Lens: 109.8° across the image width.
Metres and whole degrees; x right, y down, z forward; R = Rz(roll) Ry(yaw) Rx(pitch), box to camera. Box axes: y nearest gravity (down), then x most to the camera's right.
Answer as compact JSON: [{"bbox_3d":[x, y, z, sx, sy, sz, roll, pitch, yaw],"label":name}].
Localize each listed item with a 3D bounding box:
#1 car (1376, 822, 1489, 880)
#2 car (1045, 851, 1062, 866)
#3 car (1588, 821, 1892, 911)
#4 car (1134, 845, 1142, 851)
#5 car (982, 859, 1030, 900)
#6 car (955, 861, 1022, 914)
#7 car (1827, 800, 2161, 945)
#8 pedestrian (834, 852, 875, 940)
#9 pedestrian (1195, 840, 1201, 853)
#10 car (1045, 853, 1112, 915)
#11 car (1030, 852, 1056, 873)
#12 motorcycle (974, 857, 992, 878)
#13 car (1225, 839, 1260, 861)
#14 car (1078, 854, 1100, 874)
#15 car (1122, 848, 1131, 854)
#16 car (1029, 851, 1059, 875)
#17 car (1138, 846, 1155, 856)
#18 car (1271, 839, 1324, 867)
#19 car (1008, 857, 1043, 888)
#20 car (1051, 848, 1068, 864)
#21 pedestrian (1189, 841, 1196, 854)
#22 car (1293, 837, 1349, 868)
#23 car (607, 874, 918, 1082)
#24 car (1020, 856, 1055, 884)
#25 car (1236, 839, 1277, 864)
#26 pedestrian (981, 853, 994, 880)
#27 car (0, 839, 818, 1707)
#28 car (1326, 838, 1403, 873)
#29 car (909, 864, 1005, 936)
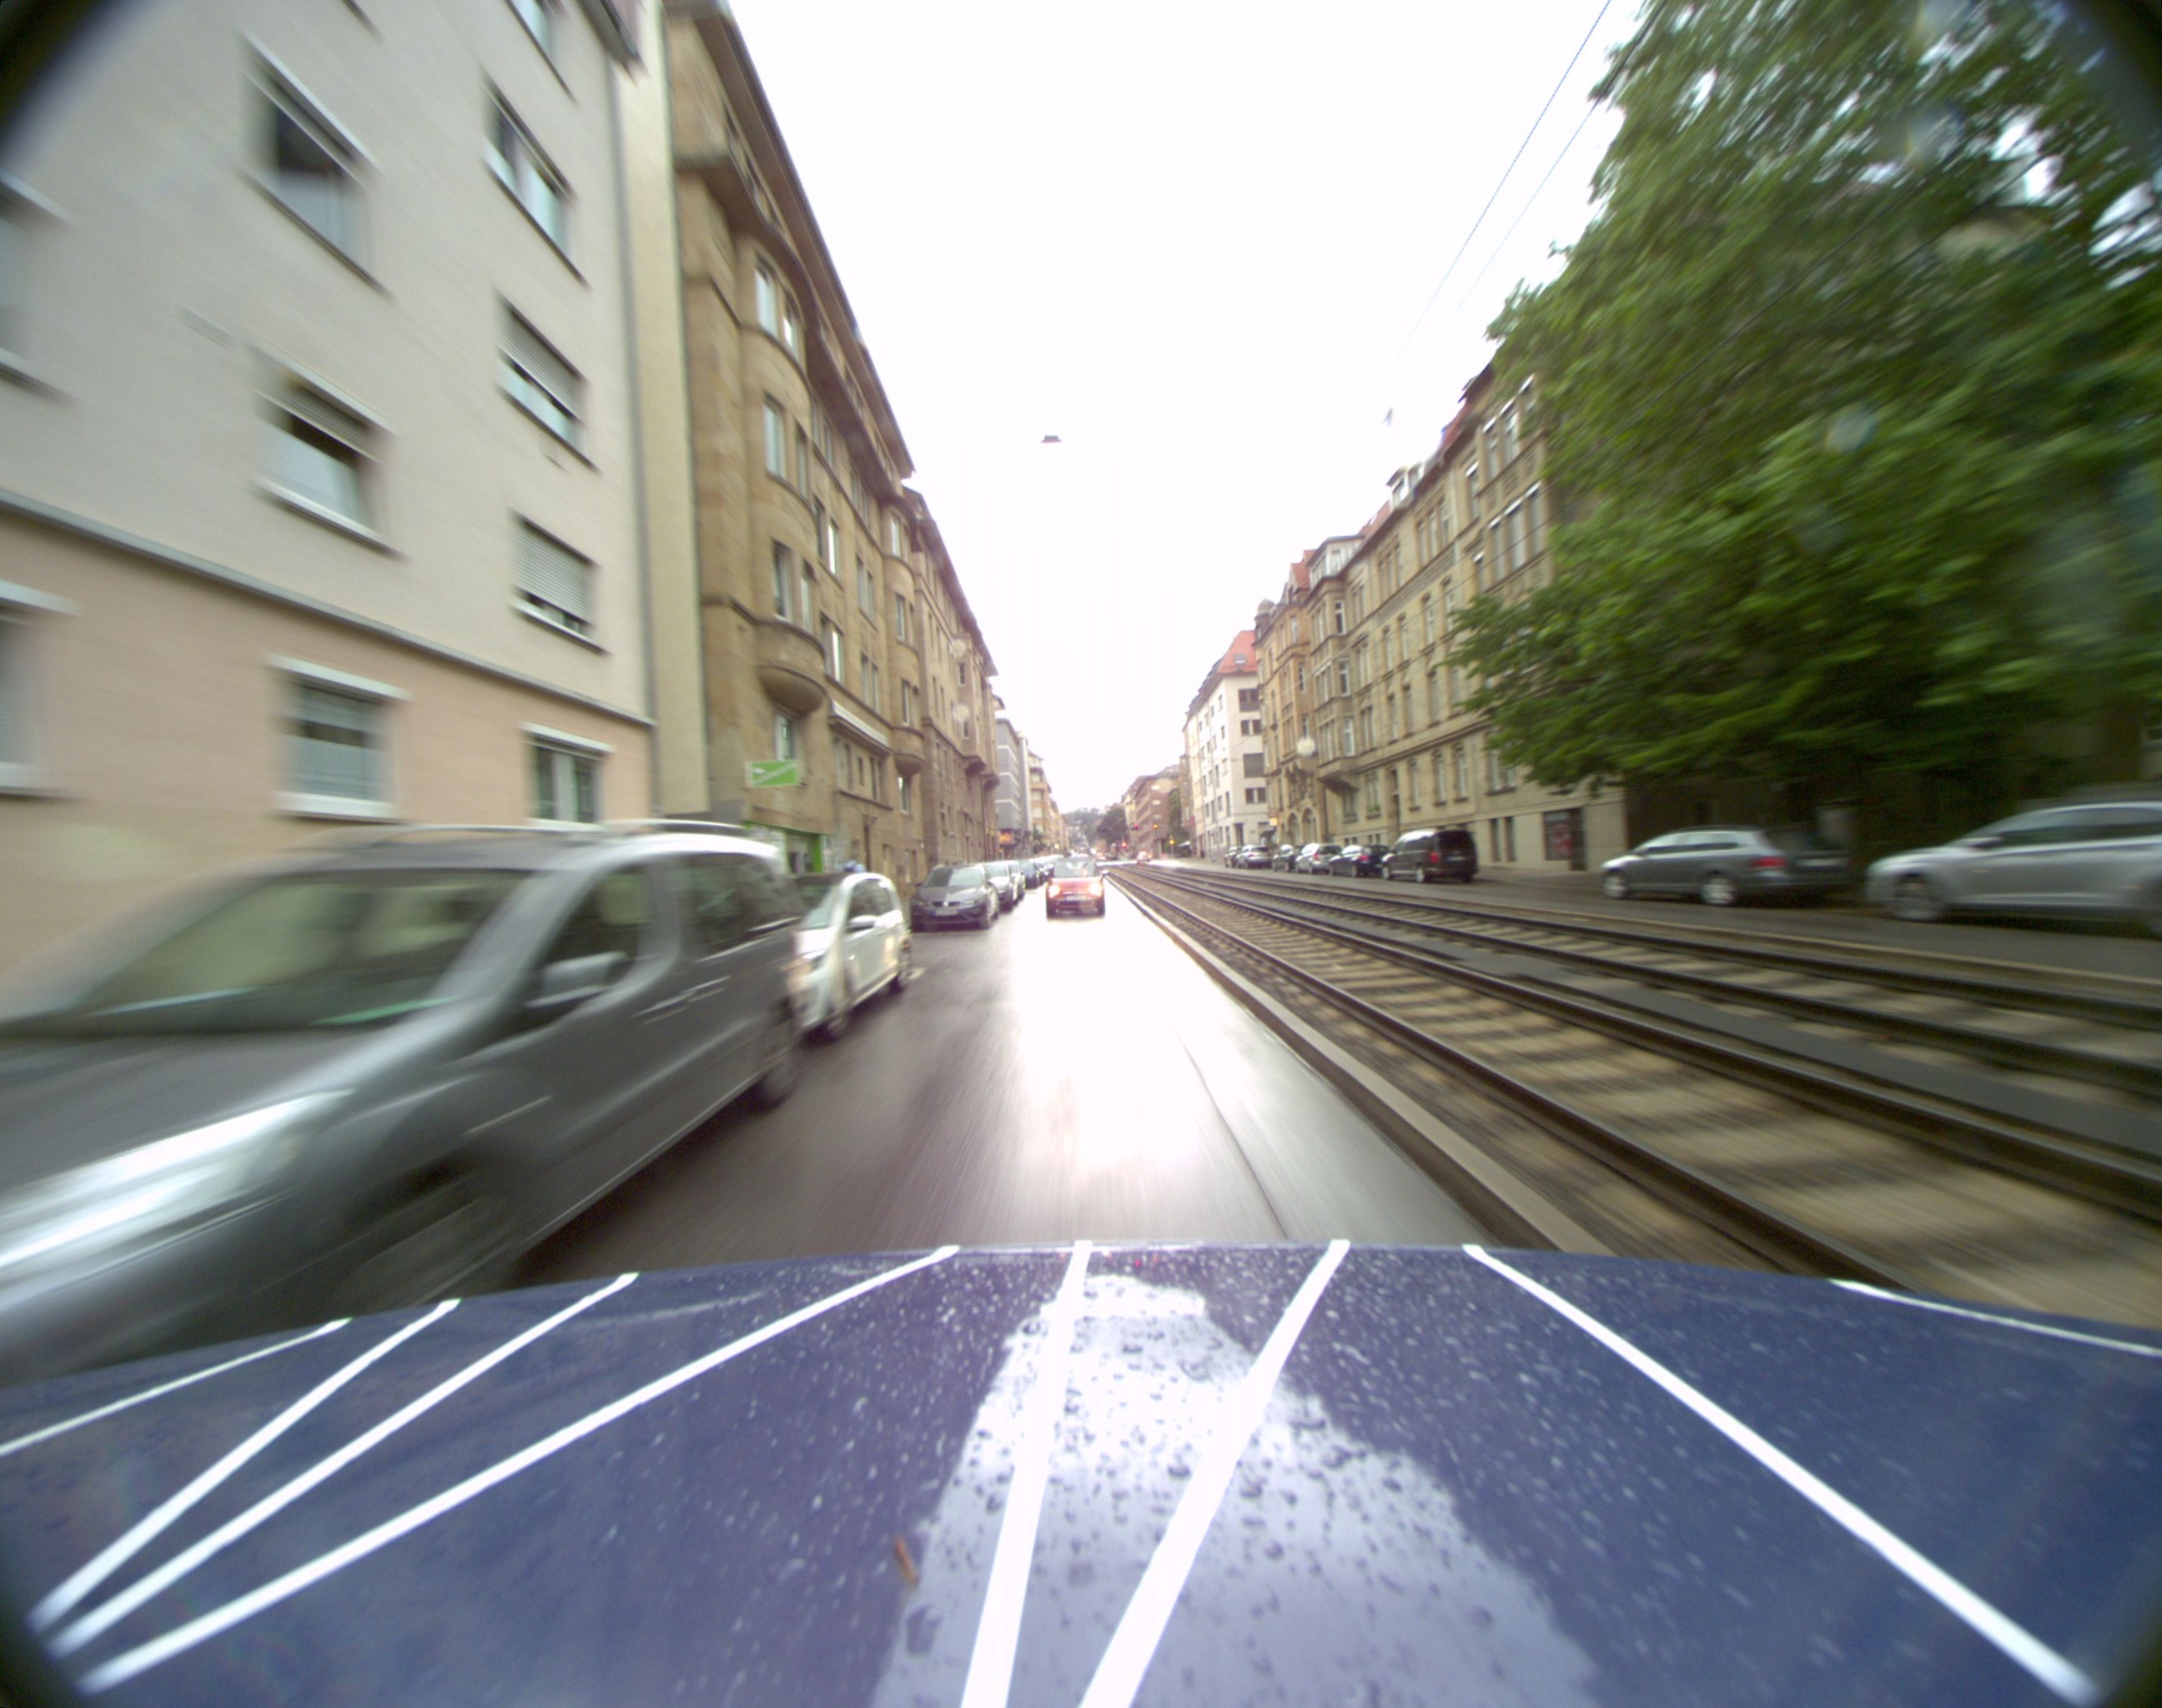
[{"bbox_3d":[12.385,-0.116,27.191,1.805,1.836,4.818,-1,1,0],"label":"car"},{"bbox_3d":[-2.959,0.459,81.810,1.696,1.474,3.928,-1,0,-4],"label":"car"},{"bbox_3d":[12.291,0.179,14.690,1.854,1.455,4.549,-1,1,-2],"label":"car"},{"bbox_3d":[13.252,-1.347,177.342,1.708,1.380,3.781,-2,1,2],"label":"car"},{"bbox_3d":[-2.907,0.952,30.051,1.594,1.426,3.683,-2,1,-2],"label":"car"},{"bbox_3d":[-2.852,0.988,24.150,1.672,1.426,3.955,-2,1,-1],"label":"car"},{"bbox_3d":[12.247,0.175,9.298,1.759,1.527,4.542,-1,1,-1],"label":"car"},{"bbox_3d":[-4.664,0.845,15.682,0.608,1.753,0.688,-1,1,-1],"label":"pedestrian"},{"bbox_3d":[15.660,-0.964,101.493,0.603,1.708,0.658,-5,1,3],"label":"pedestrian"},{"bbox_3d":[-0.068,0.774,21.673,1.683,1.531,4.017,-2,1,0],"label":"car"},{"bbox_3d":[-2.709,0.581,54.278,1.759,1.379,4.483,-1,0,-3],"label":"car"},{"bbox_3d":[-6.100,0.830,47.445,0.707,1.192,2.745,-3,1,0],"label":"motorcycle"},{"bbox_3d":[12.570,-0.292,59.463,1.863,1.593,4.430,-2,1,2],"label":"car"},{"bbox_3d":[0.835,1.024,80.747,2.135,2.002,4.328,-3,1,0],"label":"car"},{"bbox_3d":[12.006,-0.848,199.988,2.093,1.449,4.859,-2,1,2],"label":"car"},{"bbox_3d":[-2.351,0.572,49.151,1.711,1.390,4.017,-2,1,-1],"label":"car"},{"bbox_3d":[9.526,-0.435,110.559,1.987,1.448,4.293,-2,1,-1],"label":"car"},{"bbox_3d":[12.641,-0.054,44.536,1.875,1.499,4.168,-2,1,0],"label":"car"},{"bbox_3d":[-2.824,0.926,39.153,1.548,1.407,3.445,-2,1,-1],"label":"car"},{"bbox_3d":[-2.449,0.175,86.846,1.797,1.750,4.565,-3,1,-1],"label":"car"},{"bbox_3d":[14.909,-0.890,101.625,0.603,1.708,0.746,-5,1,3],"label":"pedestrian"},{"bbox_3d":[12.420,-0.083,39.492,1.699,1.515,3.854,-2,1,1],"label":"car"},{"bbox_3d":[-2.891,1.028,7.776,1.574,1.453,3.599,-2,1,1],"label":"car"},{"bbox_3d":[-2.447,0.874,43.515,1.792,1.454,4.082,-2,1,-1],"label":"car"},{"bbox_3d":[12.588,-0.212,54.821,1.863,1.643,4.314,-3,1,-1],"label":"car"},{"bbox_3d":[-5.325,0.694,43.141,0.562,1.526,0.710,-3,1,0],"label":"pedestrian"},{"bbox_3d":[-2.774,0.864,3.246,1.795,1.755,4.211,-2,1,0],"label":"car"},{"bbox_3d":[12.475,0.043,33.754,1.767,1.390,4.269,-1,0,-1],"label":"car"},{"bbox_3d":[-2.893,1.029,18.551,1.674,1.402,4.311,-2,0,-1],"label":"car"}]
